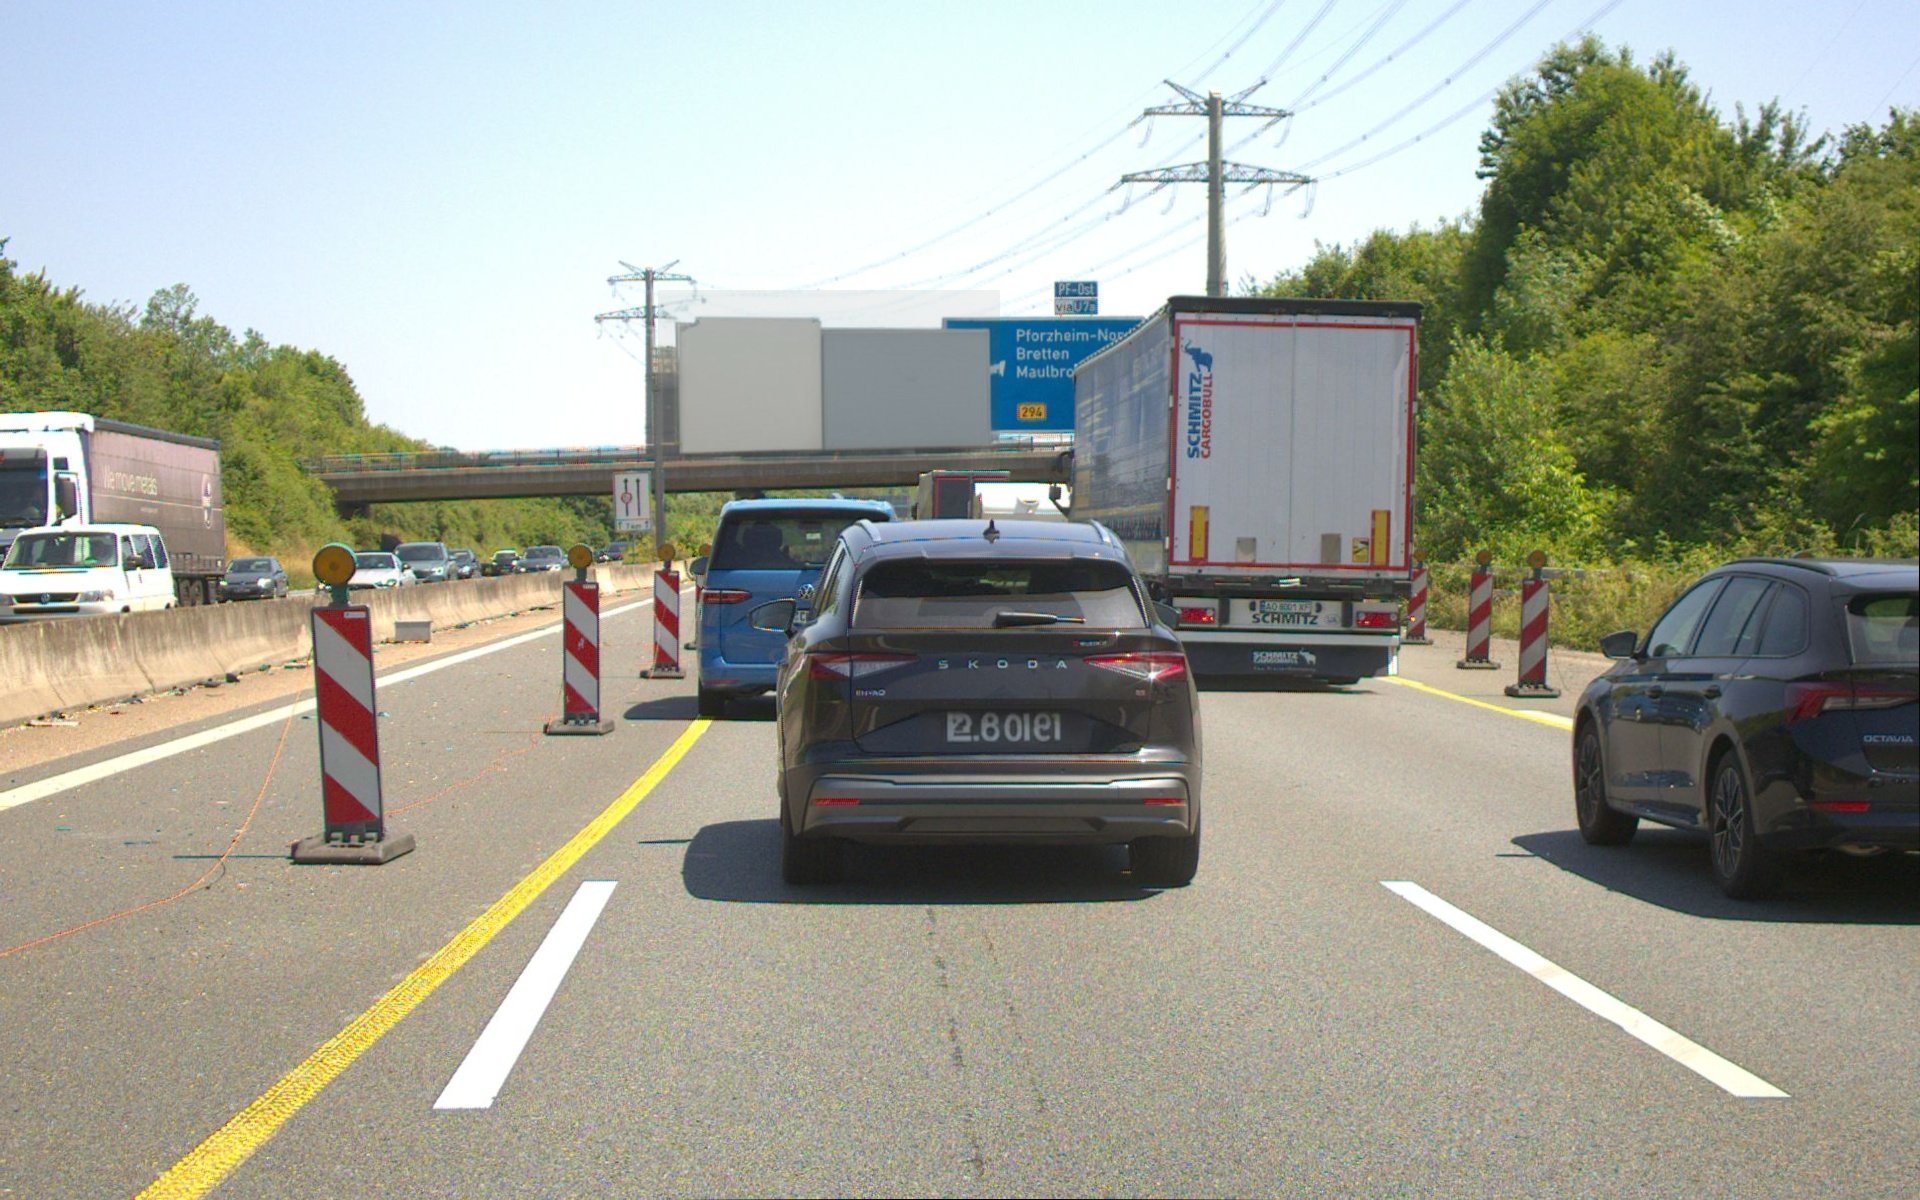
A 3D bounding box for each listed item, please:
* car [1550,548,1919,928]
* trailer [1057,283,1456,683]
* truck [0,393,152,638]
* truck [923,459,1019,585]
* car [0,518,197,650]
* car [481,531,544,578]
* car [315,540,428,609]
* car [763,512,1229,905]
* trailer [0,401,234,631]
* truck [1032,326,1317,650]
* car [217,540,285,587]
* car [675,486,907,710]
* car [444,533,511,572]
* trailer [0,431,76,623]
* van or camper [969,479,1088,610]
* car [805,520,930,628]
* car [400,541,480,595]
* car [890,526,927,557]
[{"bbox_3d":[4.084,0.525,15.847,1.779,1.484,4.464,1,1,-2],"label":"car"},{"bbox_3d":[3.166,-1.295,40.495,3.065,4.028,11.489,0,1,-3],"label":"trailer"},{"bbox_3d":[-17.307,-1.507,63.282,3.163,4.210,7.416,-2,1,-2],"label":"truck"},{"bbox_3d":[0.304,-2.703,120.442,3.077,4.132,13.055,1,1,-1],"label":"truck"},{"bbox_3d":[-12.630,-0.273,50.074,1.866,1.786,5.455,-1,1,-1],"label":"car"},{"bbox_3d":[-16.882,-1.728,129.824,1.842,1.708,4.396,-1,1,-1],"label":"car"},{"bbox_3d":[-13.262,-0.602,77.693,1.762,1.466,4.634,-1,1,0],"label":"car"},{"bbox_3d":[0.048,0.382,16.224,1.895,1.586,4.443,0,1,-3],"label":"car"},{"bbox_3d":[-17.502,-1.663,69.457,3.160,4.165,13.686,-1,1,-2],"label":"trailer"},{"bbox_3d":[2.798,-1.497,47.431,3.024,4.073,7.796,0,1,-3],"label":"truck"},{"bbox_3d":[-21.993,-1.150,106.748,1.503,1.392,4.090,-1,1,-4],"label":"car"},{"bbox_3d":[-1.510,-0.028,30.838,1.895,1.835,4.443,1,0,-3],"label":"car"},{"bbox_3d":[-19.045,-1.901,135.967,1.993,1.455,4.587,-1,1,0],"label":"car"},{"bbox_3d":[-22.134,-1.593,75.804,2.480,4.165,12.087,-1,1,-2],"label":"trailer"},{"bbox_3d":[1.591,-1.355,82.972,2.586,2.958,6.085,2,1,-1],"label":"van or camper"},{"bbox_3d":[-1.555,-0.462,56.318,1.895,1.504,4.444,2,3,-3],"label":"car"},{"bbox_3d":[-14.509,-0.900,96.105,1.616,1.437,3.990,-1,1,0],"label":"car"},{"bbox_3d":[-2.927,-3.302,194.061,1.895,1.504,4.444,2,3,-3],"label":"car"}]
